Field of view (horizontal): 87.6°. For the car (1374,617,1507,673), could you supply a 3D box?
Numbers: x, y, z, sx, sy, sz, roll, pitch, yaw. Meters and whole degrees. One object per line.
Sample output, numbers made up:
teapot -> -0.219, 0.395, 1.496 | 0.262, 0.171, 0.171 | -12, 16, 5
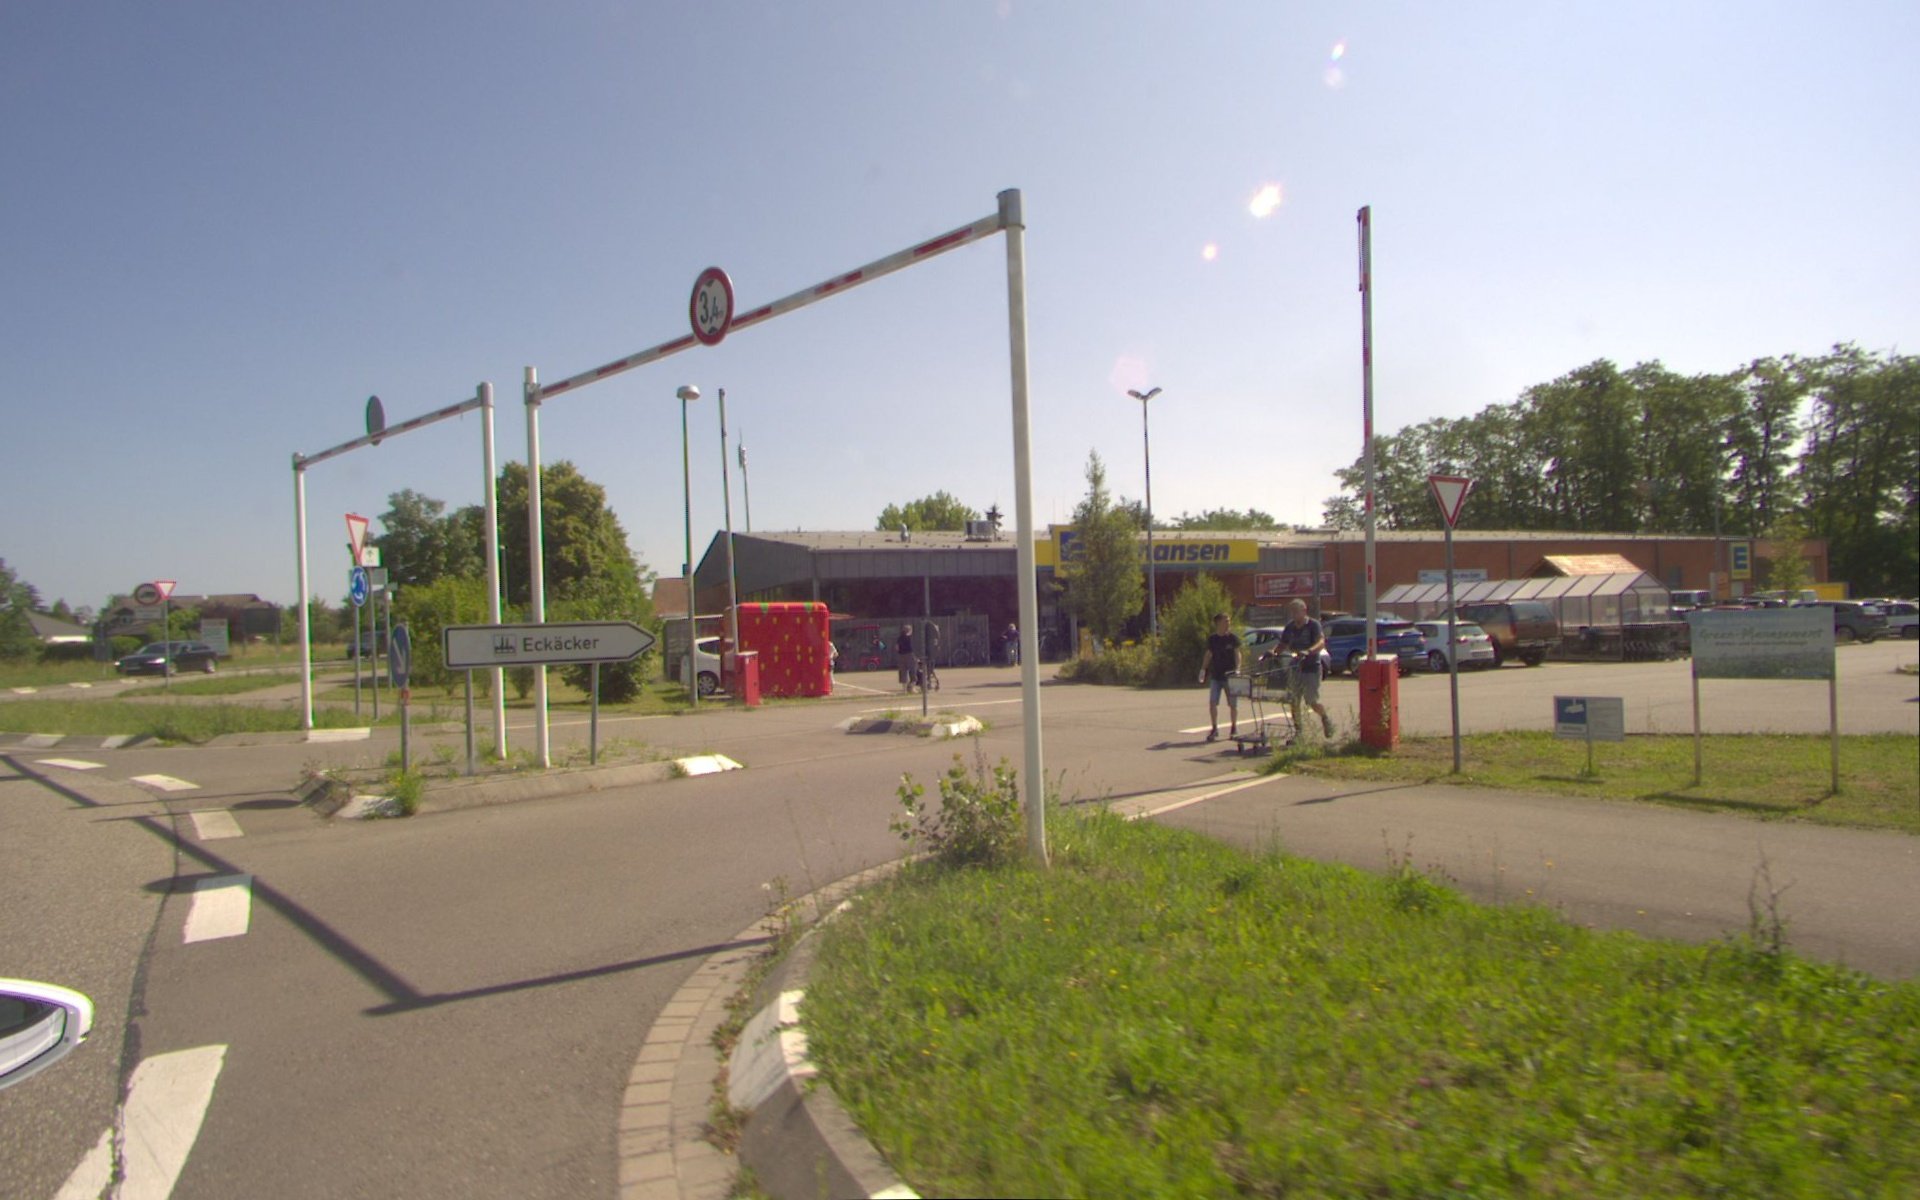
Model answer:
car -> 14.016, 1.289, 29.427 | 1.684, 1.517, 3.490 | -1, -1, -13

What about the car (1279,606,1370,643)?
car -> 17.784, 1.204, 49.017 | 1.968, 1.705, 3.987 | -1, -1, -24

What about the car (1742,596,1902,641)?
car -> 31.486, 0.696, 36.704 | 1.936, 1.505, 3.989 | -1, -1, -22

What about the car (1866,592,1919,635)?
car -> 38.792, 0.525, 39.567 | 1.964, 1.683, 3.996 | -1, -1, -15

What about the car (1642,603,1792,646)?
car -> 26.928, 0.898, 35.791 | 1.686, 1.416, 3.991 | -1, -1, -21

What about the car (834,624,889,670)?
car -> -3.671, 1.744, 37.300 | 1.797, 1.656, 1.128 | -1, -1, -20

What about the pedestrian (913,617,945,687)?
pedestrian -> -0.854, 1.417, 27.537 | 0.824, 1.895, 0.774 | -1, 0, -3

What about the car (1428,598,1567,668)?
car -> 16.266, 0.993, 30.491 | 1.844, 1.953, 3.490 | -1, -1, -13

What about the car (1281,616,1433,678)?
car -> 11.184, 1.292, 28.571 | 1.685, 1.591, 4.422 | -1, -1, -16

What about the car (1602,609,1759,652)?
car -> 24.816, 1.061, 34.657 | 1.967, 1.393, 3.989 | -1, -2, -22

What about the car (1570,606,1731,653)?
car -> 22.691, 0.986, 33.076 | 1.949, 1.438, 3.991 | -1, -2, -20

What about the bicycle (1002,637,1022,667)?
bicycle -> 1.961, 1.950, 37.875 | 0.543, 1.055, 2.076 | -1, -1, -2

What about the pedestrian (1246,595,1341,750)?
pedestrian -> 4.114, 0.865, 12.339 | 0.869, 1.808, 0.837 | -1, -1, 36

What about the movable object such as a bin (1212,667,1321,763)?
movable object such as a bin -> 3.536, 1.282, 11.502 | 0.869, 0.967, 1.197 | -2, -1, 35

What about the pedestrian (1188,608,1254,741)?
pedestrian -> 3.397, 0.950, 13.024 | 0.692, 1.669, 0.594 | -1, 0, 26

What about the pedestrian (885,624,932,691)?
pedestrian -> -1.283, 1.433, 25.103 | 0.802, 1.640, 0.922 | -1, -1, 30

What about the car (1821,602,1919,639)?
car -> 36.450, 0.783, 39.025 | 1.964, 1.371, 3.995 | -1, -1, -15

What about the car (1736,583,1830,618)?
car -> 50.494, 0.048, 61.521 | 1.965, 2.039, 3.994 | -1, -1, -17

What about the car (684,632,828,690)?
car -> -5.617, 1.623, 27.429 | 3.705, 1.465, 1.723 | 0, -1, -18

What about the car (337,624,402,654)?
car -> -37.458, 2.461, 63.616 | 1.781, 1.661, 4.655 | -5, -1, -8

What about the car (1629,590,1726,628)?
car -> 40.468, 0.524, 56.578 | 1.965, 2.040, 3.992 | -2, -1, -19

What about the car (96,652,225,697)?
car -> -32.712, 2.997, 41.167 | 1.887, 1.452, 4.911 | -4, -1, -9

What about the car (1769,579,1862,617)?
car -> 54.028, -0.076, 63.317 | 1.965, 2.275, 4.018 | -1, -1, -17

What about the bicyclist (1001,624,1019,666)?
bicyclist -> 1.911, 1.707, 38.102 | 0.595, 1.534, 0.677 | -1, 0, -2

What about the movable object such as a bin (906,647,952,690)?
movable object such as a bin -> -0.796, 1.777, 25.972 | 0.757, 1.060, 1.036 | -2, -1, 30

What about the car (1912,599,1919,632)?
car -> 42.123, 0.591, 41.104 | 1.857, 1.416, 3.995 | -1, -1, -16

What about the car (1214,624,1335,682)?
car -> 8.775, 1.443, 28.219 | 1.684, 1.476, 3.489 | -1, -1, -13
